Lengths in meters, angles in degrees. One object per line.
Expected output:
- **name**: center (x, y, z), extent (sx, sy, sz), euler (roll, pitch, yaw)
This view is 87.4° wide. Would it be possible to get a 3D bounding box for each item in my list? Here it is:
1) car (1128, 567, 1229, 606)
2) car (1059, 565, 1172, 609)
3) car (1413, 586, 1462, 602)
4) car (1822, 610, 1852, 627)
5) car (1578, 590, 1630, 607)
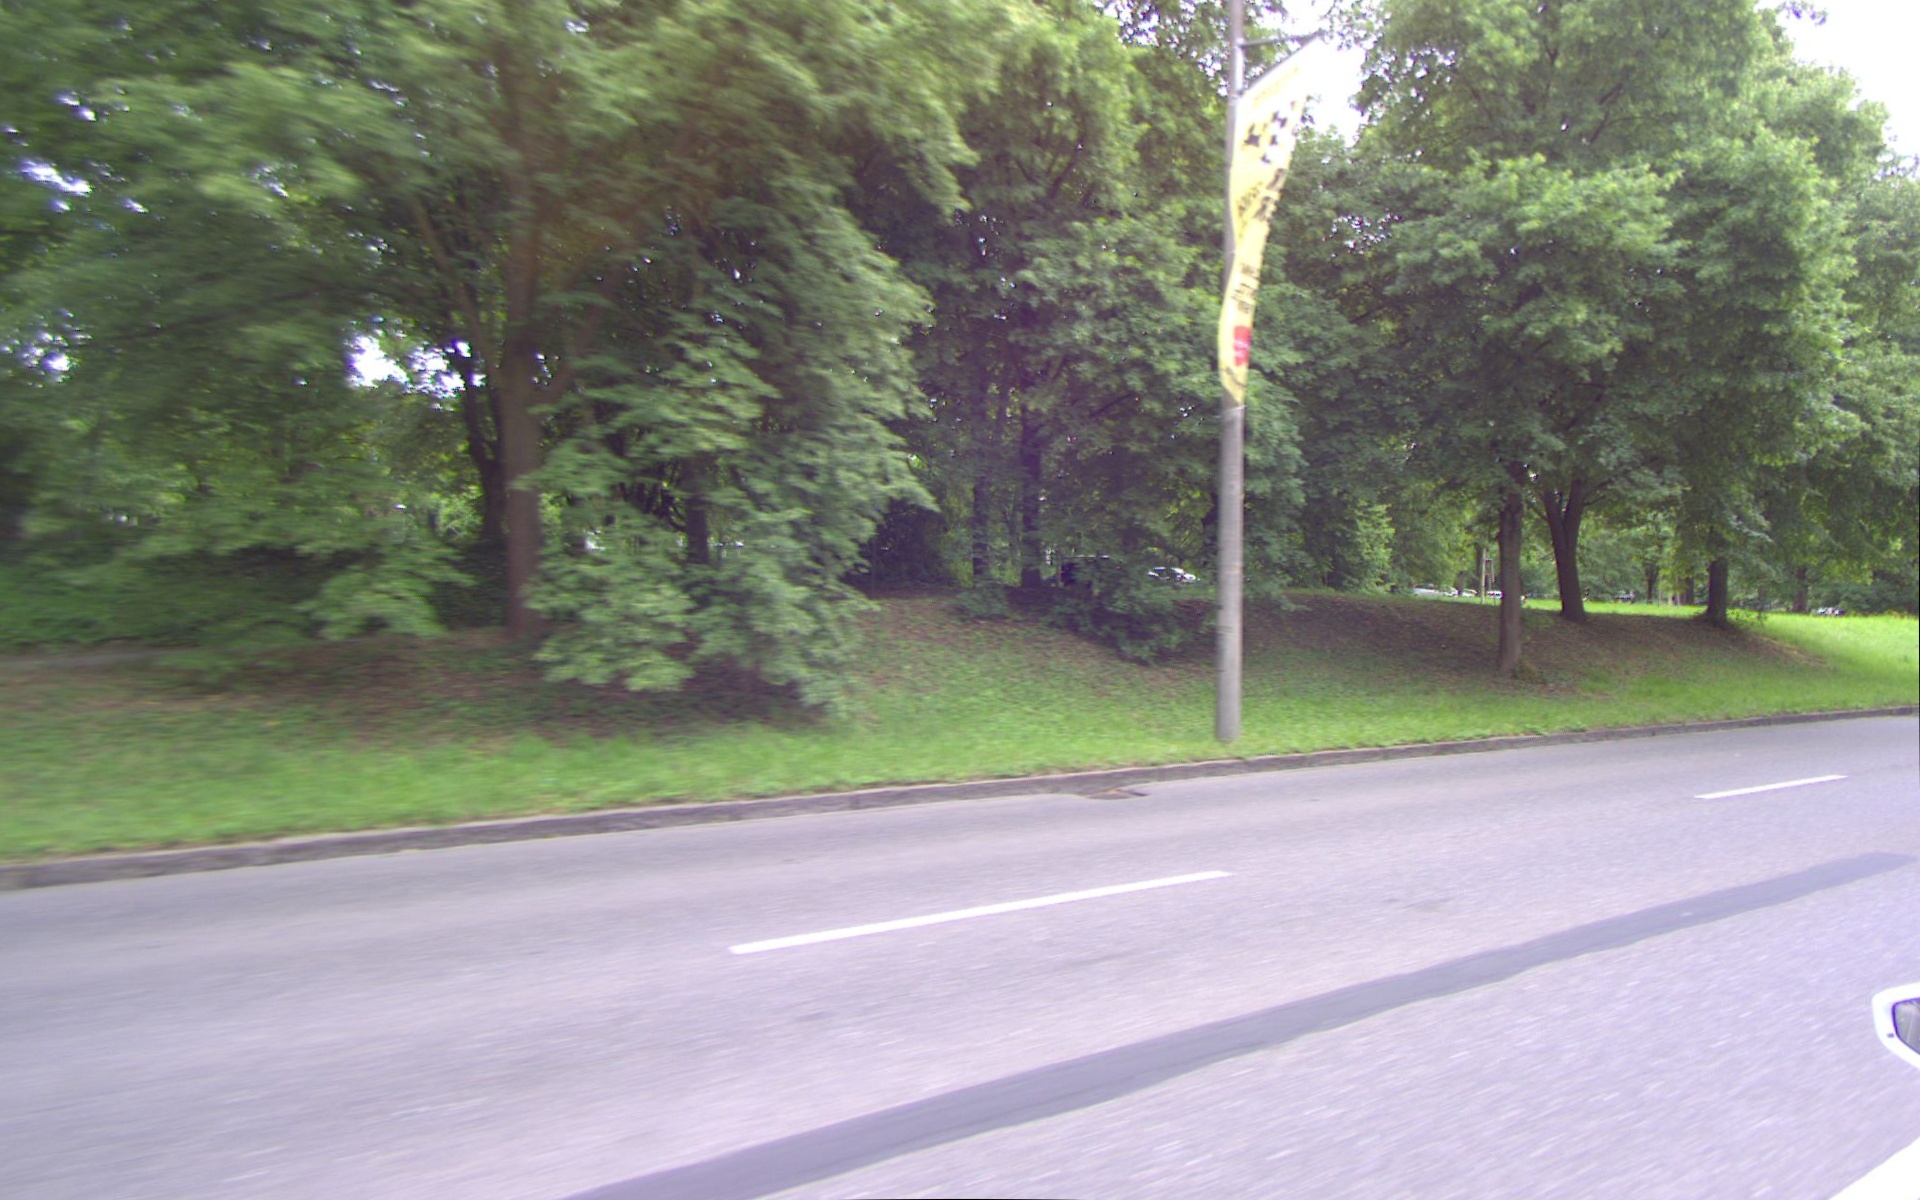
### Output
- **car**: center (11.788, -0.736, 54.255), extent (4.821, 1.921, 2.315), euler (2, 0, 33)
- **car**: center (7.275, -0.606, 47.168), extent (4.821, 1.921, 1.995), euler (2, 0, 33)
- **car**: center (38.580, -0.491, 81.136), extent (3.448, 1.250, 1.396), euler (2, 0, 33)
- **car**: center (77.481, 1.640, 88.782), extent (1.624, 1.506, 3.986), euler (2, 0, 36)
- **car**: center (51.433, -0.102, 80.272), extent (3.448, 1.226, 1.396), euler (2, 0, 33)
